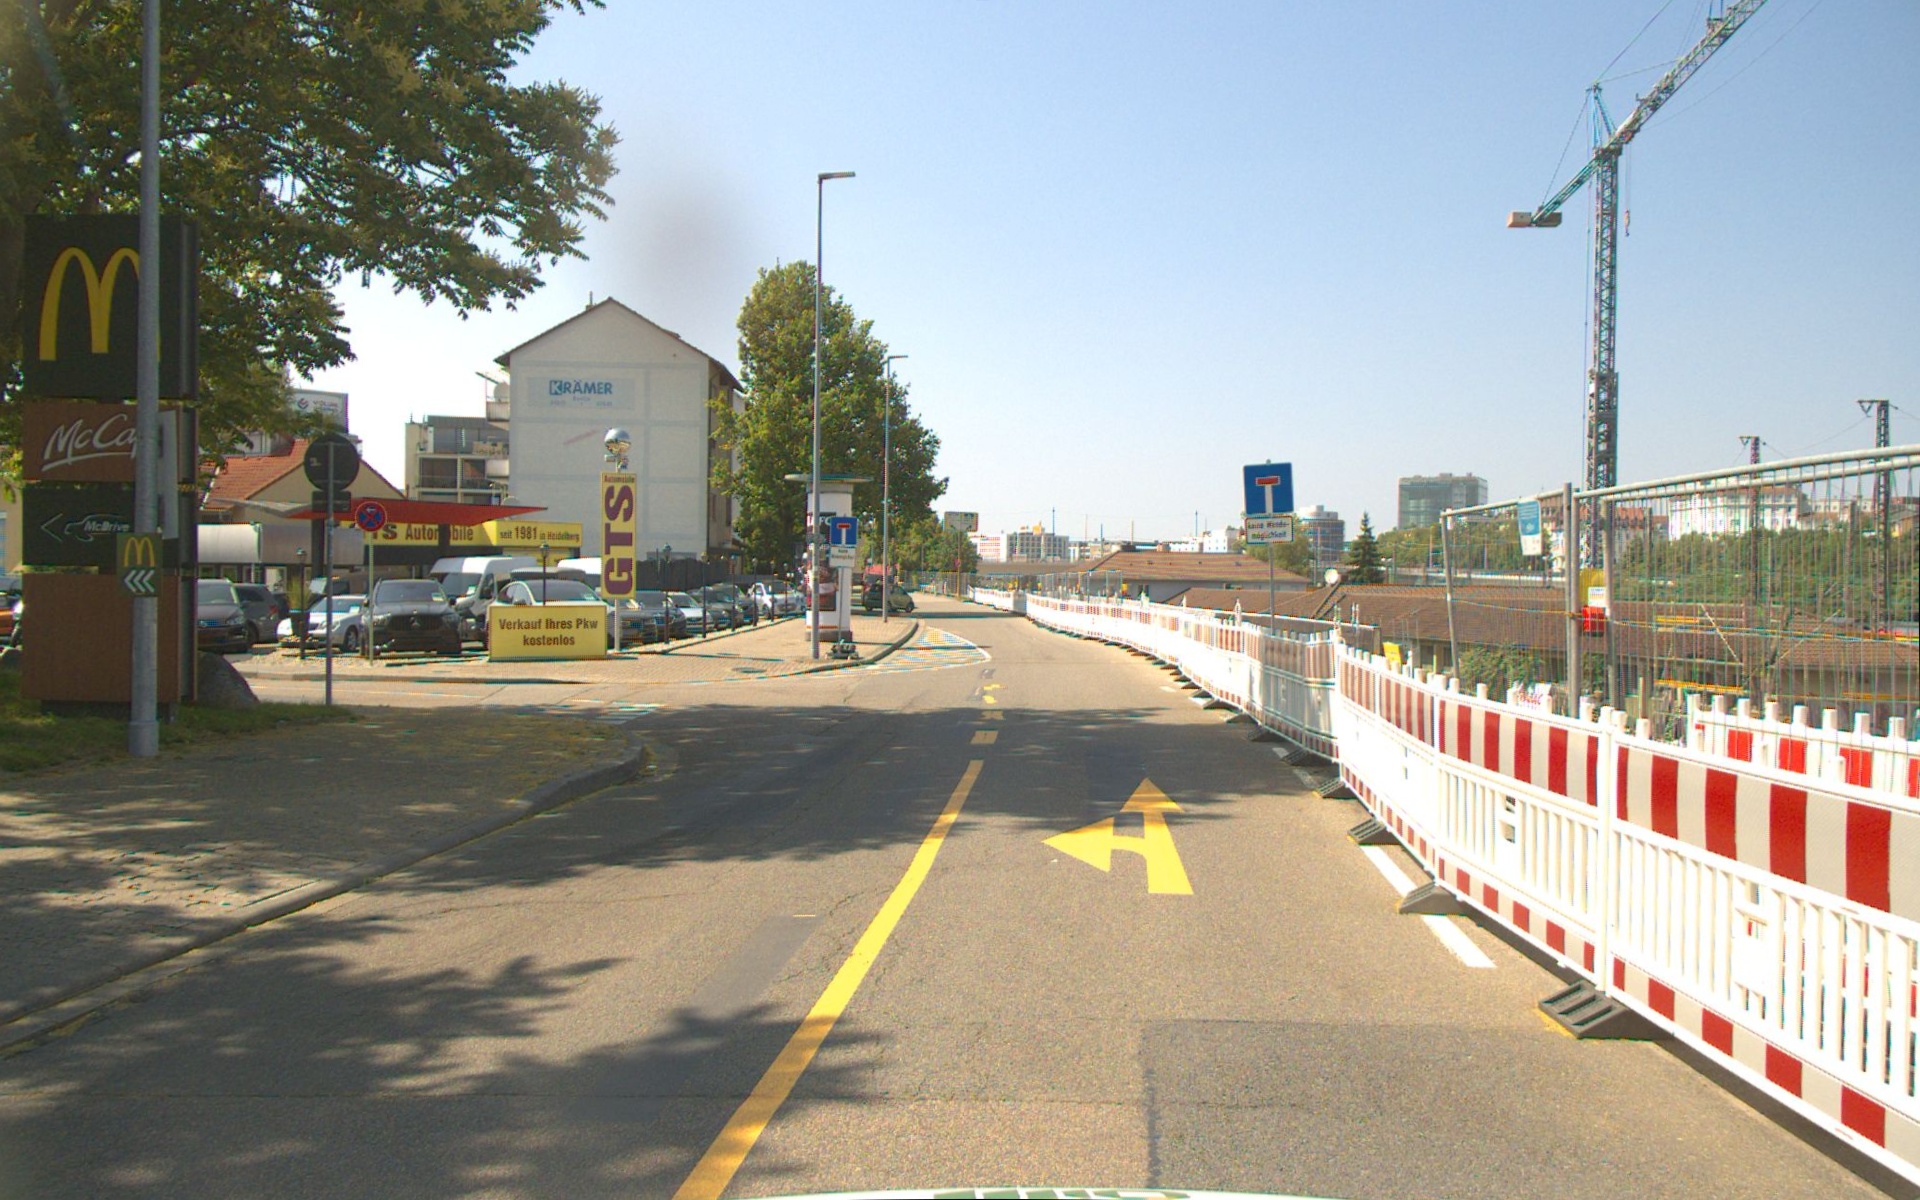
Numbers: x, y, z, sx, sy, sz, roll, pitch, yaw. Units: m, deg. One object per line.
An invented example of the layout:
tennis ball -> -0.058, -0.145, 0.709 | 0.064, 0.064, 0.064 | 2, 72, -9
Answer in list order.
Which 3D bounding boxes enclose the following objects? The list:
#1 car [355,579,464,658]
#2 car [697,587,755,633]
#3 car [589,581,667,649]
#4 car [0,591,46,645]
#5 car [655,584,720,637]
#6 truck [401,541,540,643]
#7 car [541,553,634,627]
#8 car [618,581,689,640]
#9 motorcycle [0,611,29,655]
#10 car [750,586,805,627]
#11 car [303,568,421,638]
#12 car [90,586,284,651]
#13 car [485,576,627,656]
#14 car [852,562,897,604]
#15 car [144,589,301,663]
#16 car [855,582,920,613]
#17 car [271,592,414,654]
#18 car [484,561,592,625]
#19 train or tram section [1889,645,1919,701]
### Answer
car -> -12.257, 0.396, 36.676 | 2.018, 1.622, 4.394 | 1, 0, -22
car -> -8.964, 0.364, 63.129 | 1.825, 1.657, 3.986 | 1, 0, -14
car -> -8.717, 0.360, 43.192 | 1.825, 1.657, 3.986 | 1, 0, -14
car -> -30.020, 0.515, 50.504 | 3.915, 1.613, 1.995 | 1, -1, 32
car -> -8.995, 0.312, 54.390 | 1.825, 1.657, 3.986 | 1, 0, -14
truck -> -15.323, -0.246, 52.195 | 2.221, 2.954, 5.946 | 2, 0, 3
car -> -12.456, -0.335, 55.628 | 2.092, 2.324, 4.710 | 1, 0, -1
car -> -9.074, 0.277, 48.787 | 1.825, 1.657, 3.986 | 1, 0, -14
motorcycle -> -26.417, 0.883, 44.871 | 0.775, 1.179, 1.864 | 1, -1, 41
car -> -7.883, 0.256, 71.093 | 1.825, 1.657, 3.986 | 1, 0, -14
car -> -18.590, 0.114, 51.638 | 1.952, 2.049, 4.496 | 1, 0, 1
car -> -20.191, 0.486, 43.254 | 4.289, 1.613, 1.974 | 1, -1, -37
car -> -9.396, 0.356, 38.277 | 1.975, 1.756, 3.954 | 1, 0, -33
car -> -5.426, -1.080, 105.998 | 2.485, 2.564, 5.118 | 1, 0, 1
car -> -16.638, 0.568, 37.517 | 1.751, 1.536, 3.999 | 1, 0, 0
car -> -4.012, -0.127, 92.025 | 3.251, 1.666, 1.701 | 2, -1, -41
car -> -16.121, 0.582, 43.387 | 1.750, 1.513, 4.003 | 1, 0, 9
car -> -12.571, -0.203, 49.583 | 1.838, 1.768, 4.723 | 2, 0, 2
train or tram section -> 68.733, 5.219, 116.864 | 2.951, 3.768, 8.979 | 3, 0, 13
